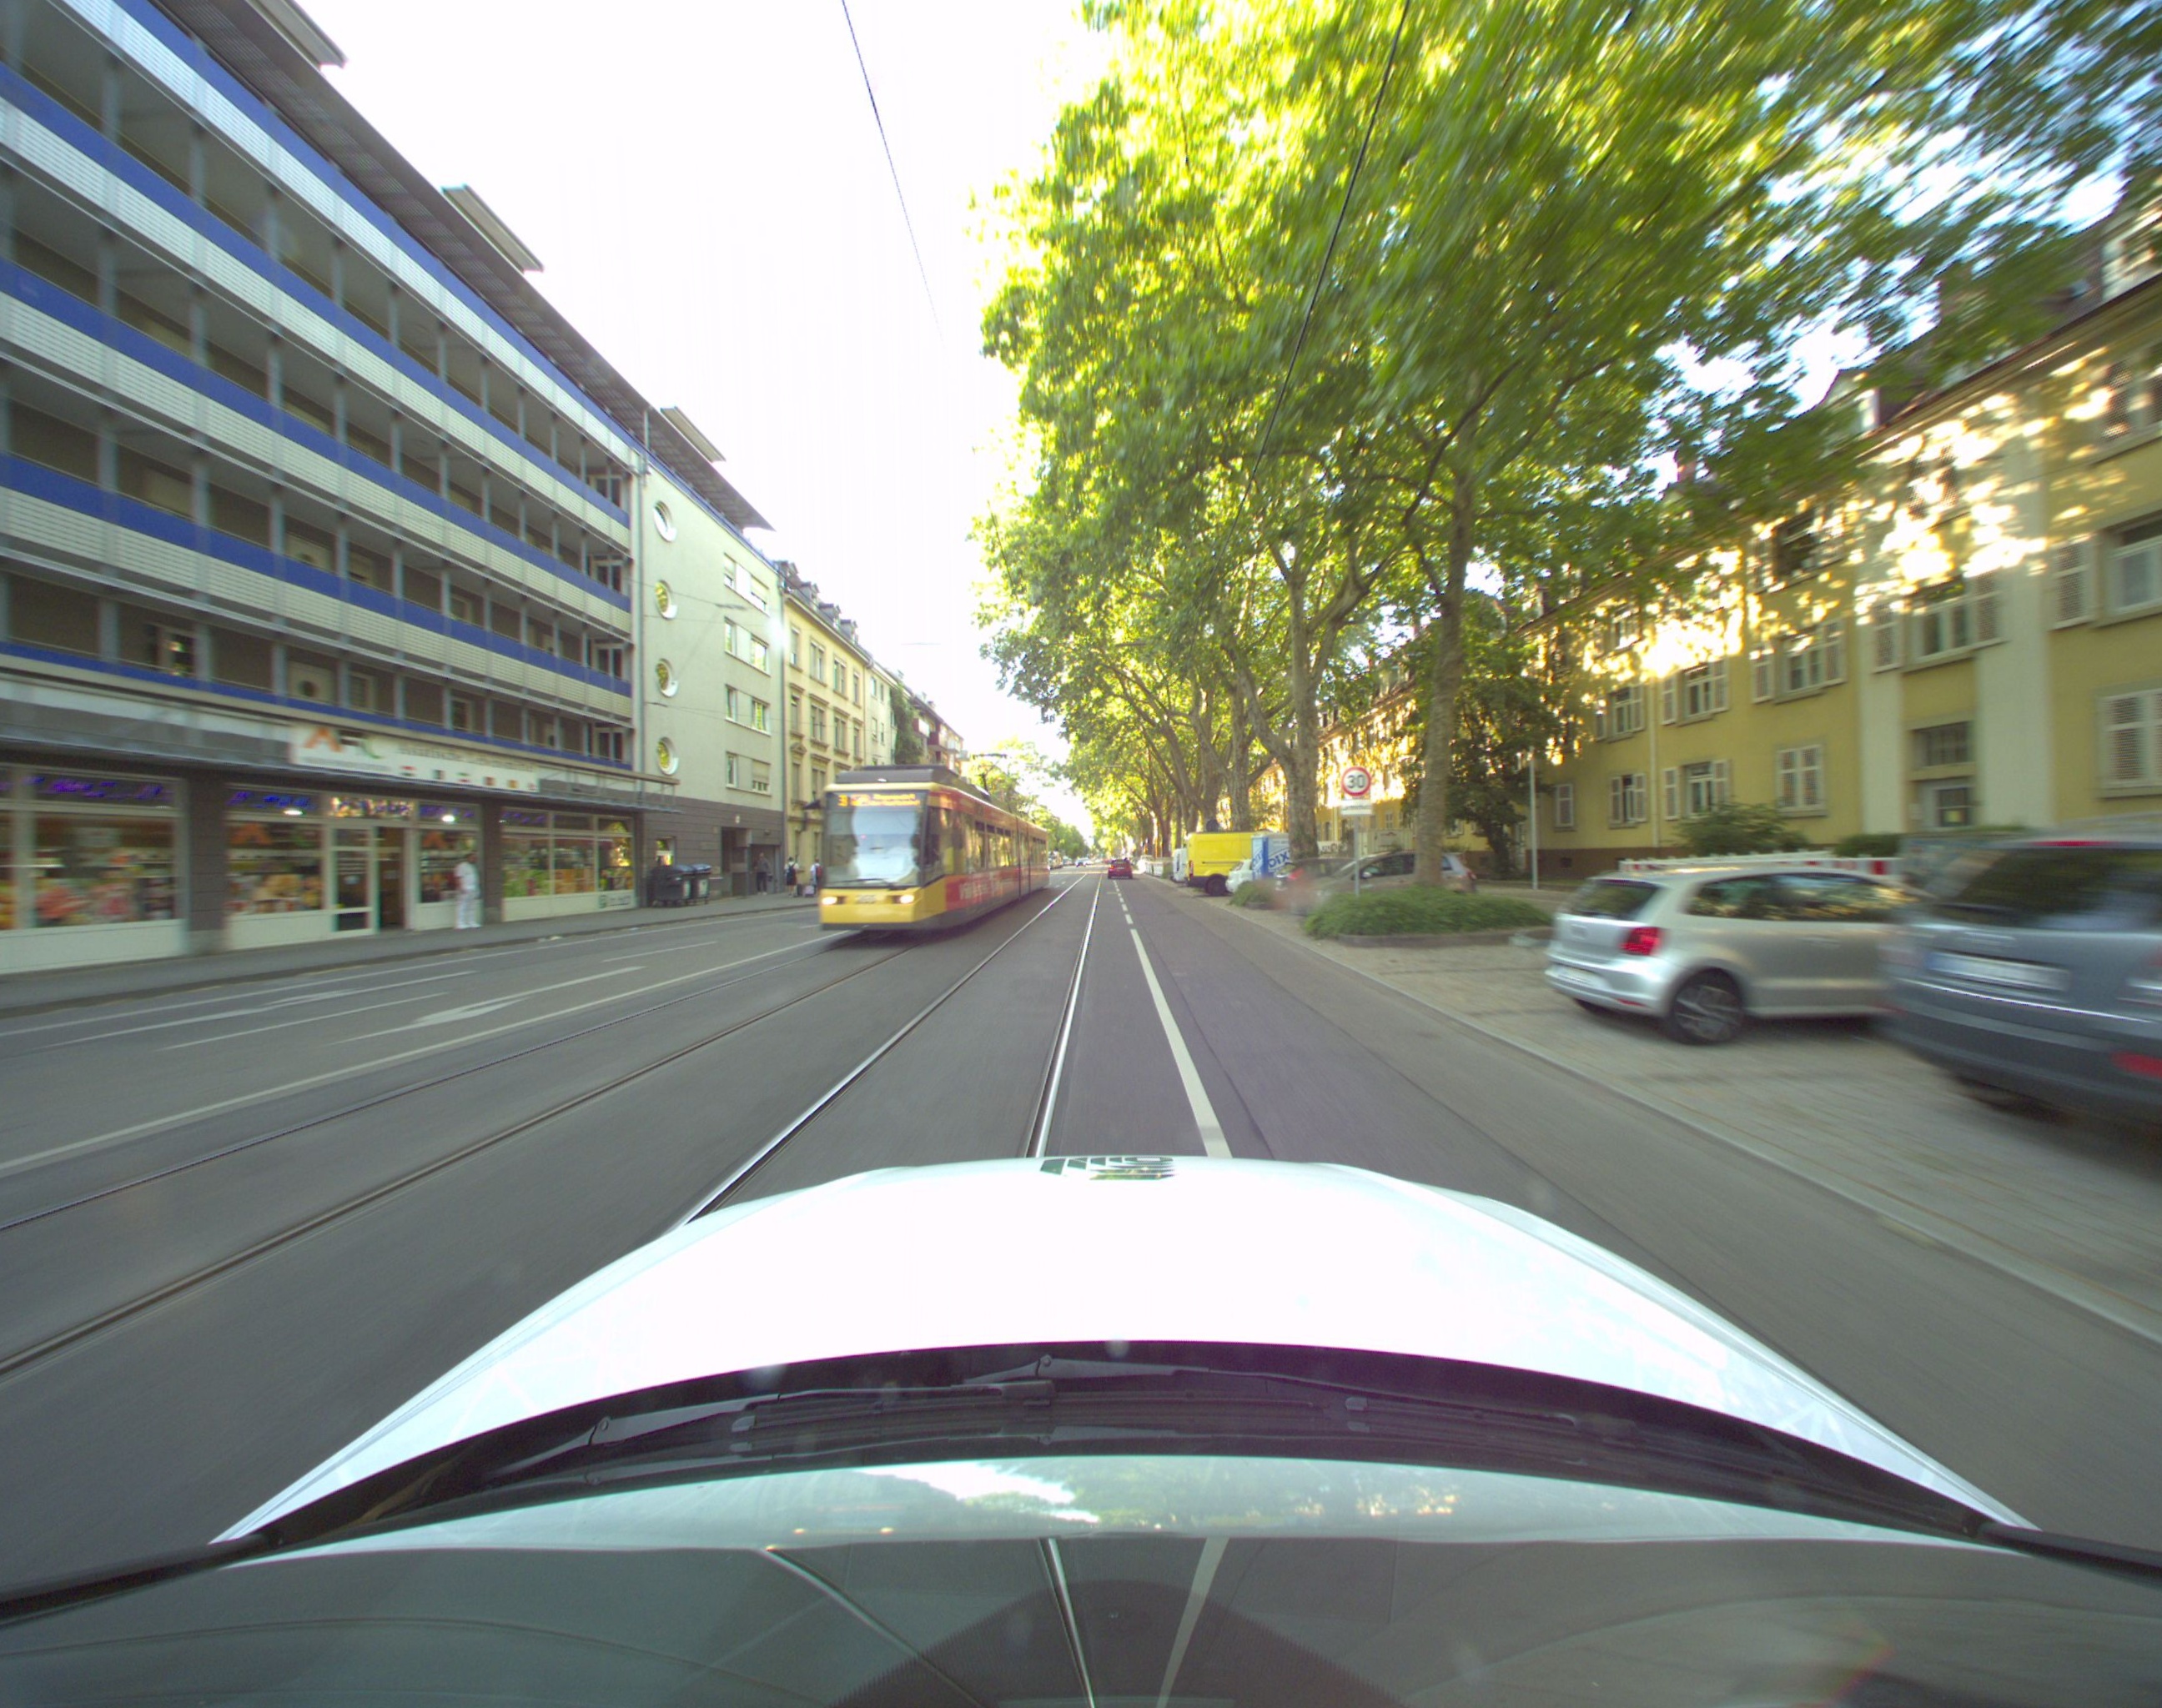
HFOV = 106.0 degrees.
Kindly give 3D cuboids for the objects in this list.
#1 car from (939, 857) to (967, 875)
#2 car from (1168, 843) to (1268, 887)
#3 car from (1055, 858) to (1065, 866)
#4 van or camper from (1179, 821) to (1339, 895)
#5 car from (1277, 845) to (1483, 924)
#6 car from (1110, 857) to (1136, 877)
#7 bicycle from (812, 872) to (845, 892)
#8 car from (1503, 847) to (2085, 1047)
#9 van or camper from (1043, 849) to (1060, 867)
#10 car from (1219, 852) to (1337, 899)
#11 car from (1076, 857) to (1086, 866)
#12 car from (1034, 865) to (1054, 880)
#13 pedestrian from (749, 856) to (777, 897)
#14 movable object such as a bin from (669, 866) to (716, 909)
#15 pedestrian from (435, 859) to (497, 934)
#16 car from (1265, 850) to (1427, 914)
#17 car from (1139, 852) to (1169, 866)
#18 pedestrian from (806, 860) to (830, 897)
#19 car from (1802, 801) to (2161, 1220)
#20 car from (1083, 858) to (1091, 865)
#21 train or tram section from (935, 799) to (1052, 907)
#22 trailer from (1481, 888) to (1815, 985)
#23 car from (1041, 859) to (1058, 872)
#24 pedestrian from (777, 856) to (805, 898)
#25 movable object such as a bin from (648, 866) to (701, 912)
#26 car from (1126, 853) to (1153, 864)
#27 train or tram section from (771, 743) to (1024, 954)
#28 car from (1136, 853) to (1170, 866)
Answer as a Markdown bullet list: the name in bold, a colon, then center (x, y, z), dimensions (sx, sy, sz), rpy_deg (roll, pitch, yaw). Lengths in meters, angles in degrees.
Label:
- **car**: center (-15.892, 1.500, 100.826), dimensions (2.004, 2.123, 4.681), rpy_deg (-1, -1, -27)
- **car**: center (7.024, 0.538, 42.137), dimensions (4.817, 2.013, 2.064), rpy_deg (-2, 0, 1)
- **car**: center (-4.286, 1.580, 164.370), dimensions (1.830, 1.468, 5.068), rpy_deg (1, 0, 0)
- **van or camper**: center (6.980, 0.192, 32.548), dimensions (5.900, 2.629, 2.272), rpy_deg (-2, -1, 3)
- **car**: center (6.833, 0.679, 18.920), dimensions (4.062, 1.549, 1.831), rpy_deg (-3, 0, 1)
- **car**: center (3.009, 0.898, 58.272), dimensions (1.785, 1.389, 4.238), rpy_deg (-1, 0, 2)
- **bicycle**: center (-13.085, 1.443, 42.298), dimensions (0.643, 0.971, 2.145), rpy_deg (-1, 0, 12)
- **car**: center (6.194, 0.750, 7.485), dimensions (3.637, 1.424, 1.867), rpy_deg (-3, 0, 2)
- **van or camper**: center (-5.021, 0.676, 141.168), dimensions (2.328, 3.041, 6.401), rpy_deg (1, 0, 3)
- **car**: center (7.103, 0.760, 29.720), dimensions (3.889, 1.489, 1.865), rpy_deg (-2, 0, 3)
- **car**: center (-0.018, 1.502, 161.738), dimensions (1.847, 1.600, 4.464), rpy_deg (1, 0, 1)
- **car**: center (-3.693, 1.867, 82.558), dimensions (1.789, 1.446, 4.717), rpy_deg (0, 0, 1)
- **pedestrian**: center (-14.348, 0.993, 36.725), dimensions (0.959, 1.814, 0.730), rpy_deg (0, 0, 2)
- **movable object such as a bin**: center (-13.662, 1.165, 28.696), dimensions (1.054, 1.450, 1.210), rpy_deg (-2, 0, -3)
- **pedestrian**: center (-14.454, 0.978, 19.160), dimensions (0.784, 1.713, 0.820), rpy_deg (1, 0, 1)
- **car**: center (6.905, 0.716, 21.487), dimensions (3.643, 1.426, 1.736), rpy_deg (-3, 0, -2)
- **car**: center (9.659, 0.635, 107.590), dimensions (3.825, 1.772, 1.919), rpy_deg (-2, -1, 5)
- **pedestrian**: center (-11.596, 1.072, 35.885), dimensions (0.720, 1.633, 0.691), rpy_deg (0, 0, 25)
- **car**: center (6.666, 0.531, 4.065), dimensions (4.288, 1.731, 1.843), rpy_deg (-3, -1, 5)
- **car**: center (1.593, 1.880, 203.744), dimensions (1.885, 1.832, 4.896), rpy_deg (-2, 0, 1)
- **train or tram section**: center (-3.192, -0.022, 34.355), dimensions (2.898, 3.486, 14.203), rpy_deg (-2, 0, 2)
- **trailer**: center (6.783, 0.982, 10.010), dimensions (3.023, 0.903, 1.439), rpy_deg (-4, -1, 8)
- **car**: center (-3.821, 1.407, 99.457), dimensions (1.789, 1.446, 4.055), rpy_deg (-3, 0, 2)
- **pedestrian**: center (-12.448, 0.972, 34.986), dimensions (0.857, 1.784, 0.739), rpy_deg (0, 0, 19)
- **movable object such as a bin**: center (-13.588, 1.145, 27.237), dimensions (1.136, 1.450, 1.213), rpy_deg (-2, 0, -3)
- **car**: center (10.217, 0.755, 142.358), dimensions (4.475, 1.602, 2.030), rpy_deg (-4, -1, 5)
- **train or tram section**: center (-3.591, -0.077, 20.538), dimensions (2.898, 3.486, 13.374), rpy_deg (-2, 0, 2)
- **car**: center (9.112, 0.727, 103.316), dimensions (4.074, 1.521, 1.916), rpy_deg (-2, -1, 0)
